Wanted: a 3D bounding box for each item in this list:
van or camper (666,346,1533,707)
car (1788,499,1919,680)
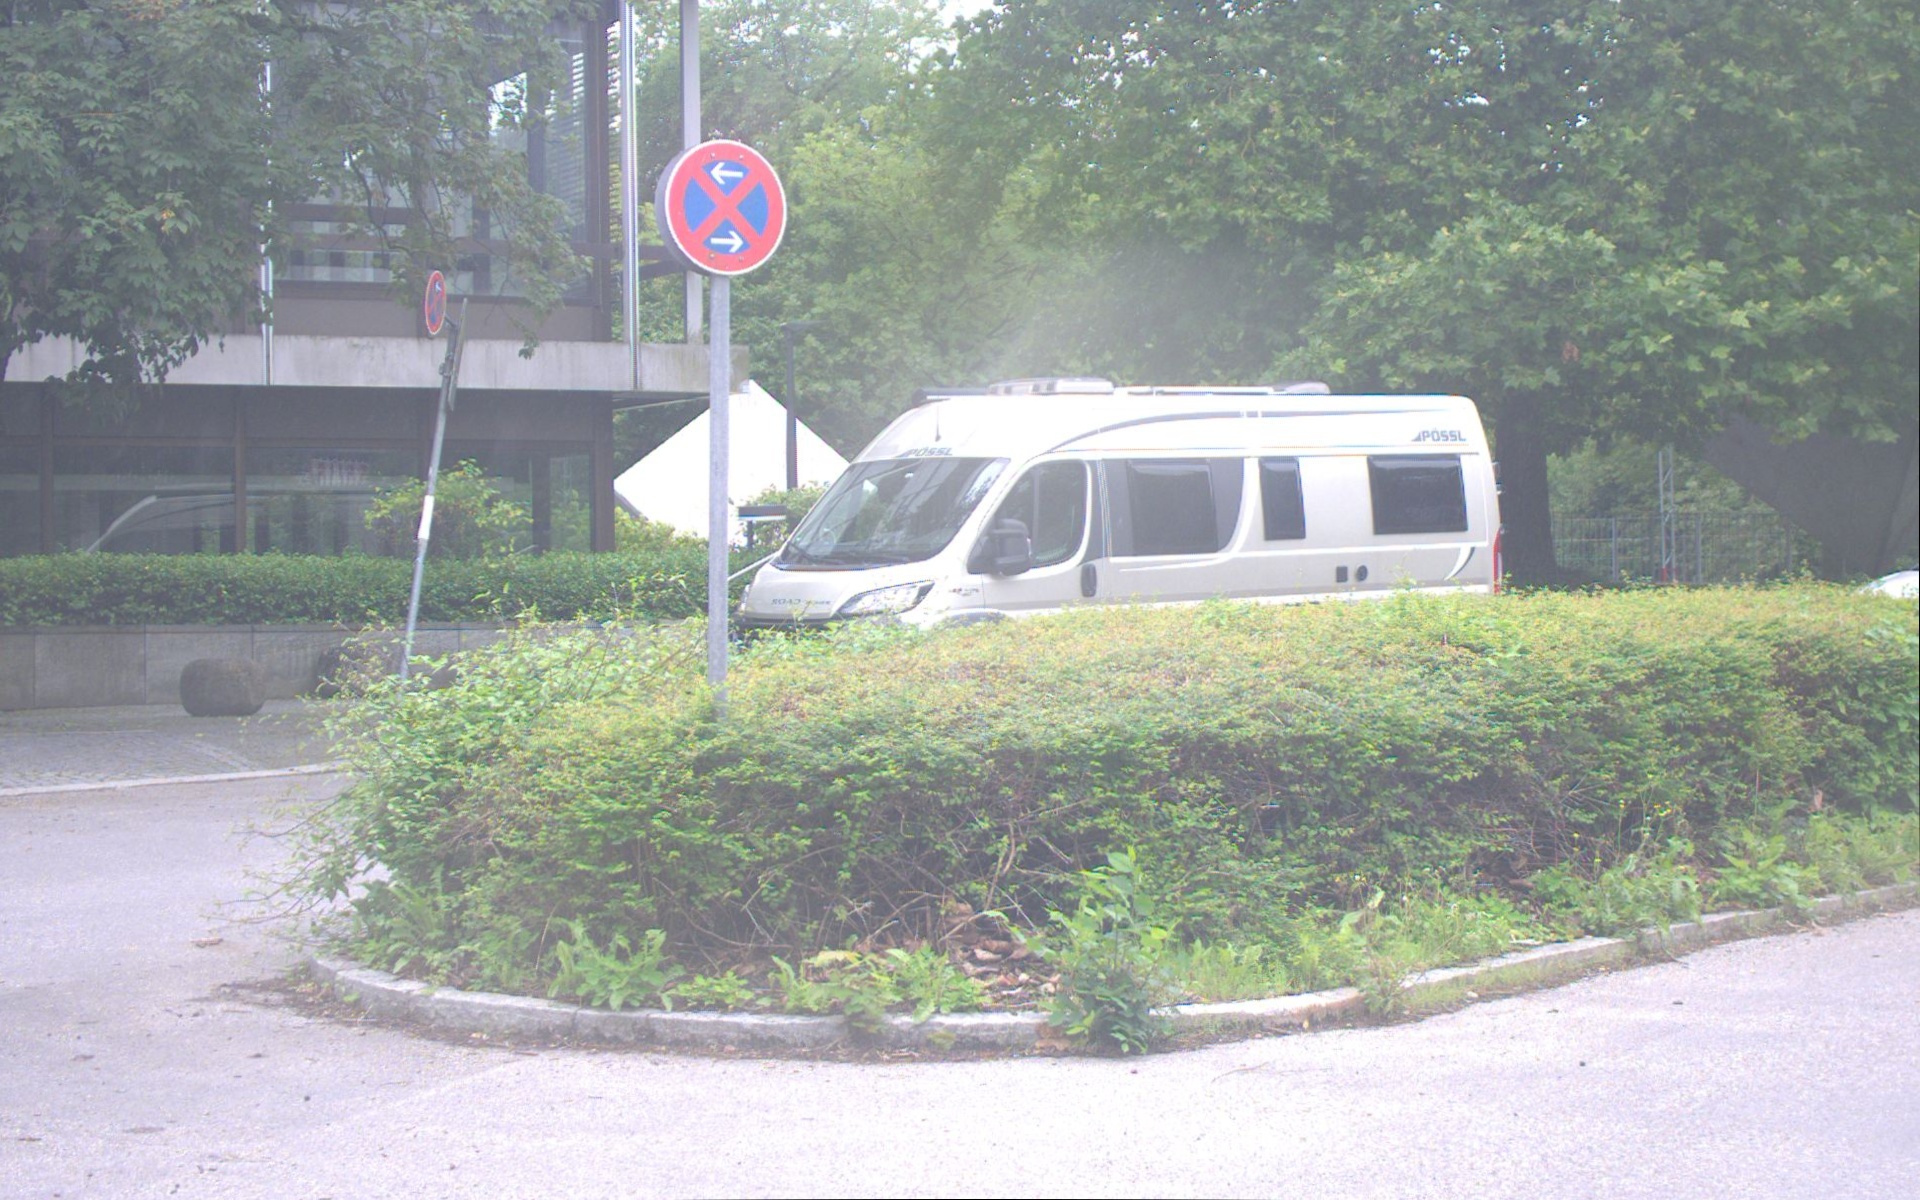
[{"bbox_3d":[1.160,-0.514,24.652,6.400,2.273,2.254,-1,1,-41],"label":"van or camper"},{"bbox_3d":[9.483,-0.128,30.063,3.986,1.503,2.000,-1,1,-26],"label":"car"}]
